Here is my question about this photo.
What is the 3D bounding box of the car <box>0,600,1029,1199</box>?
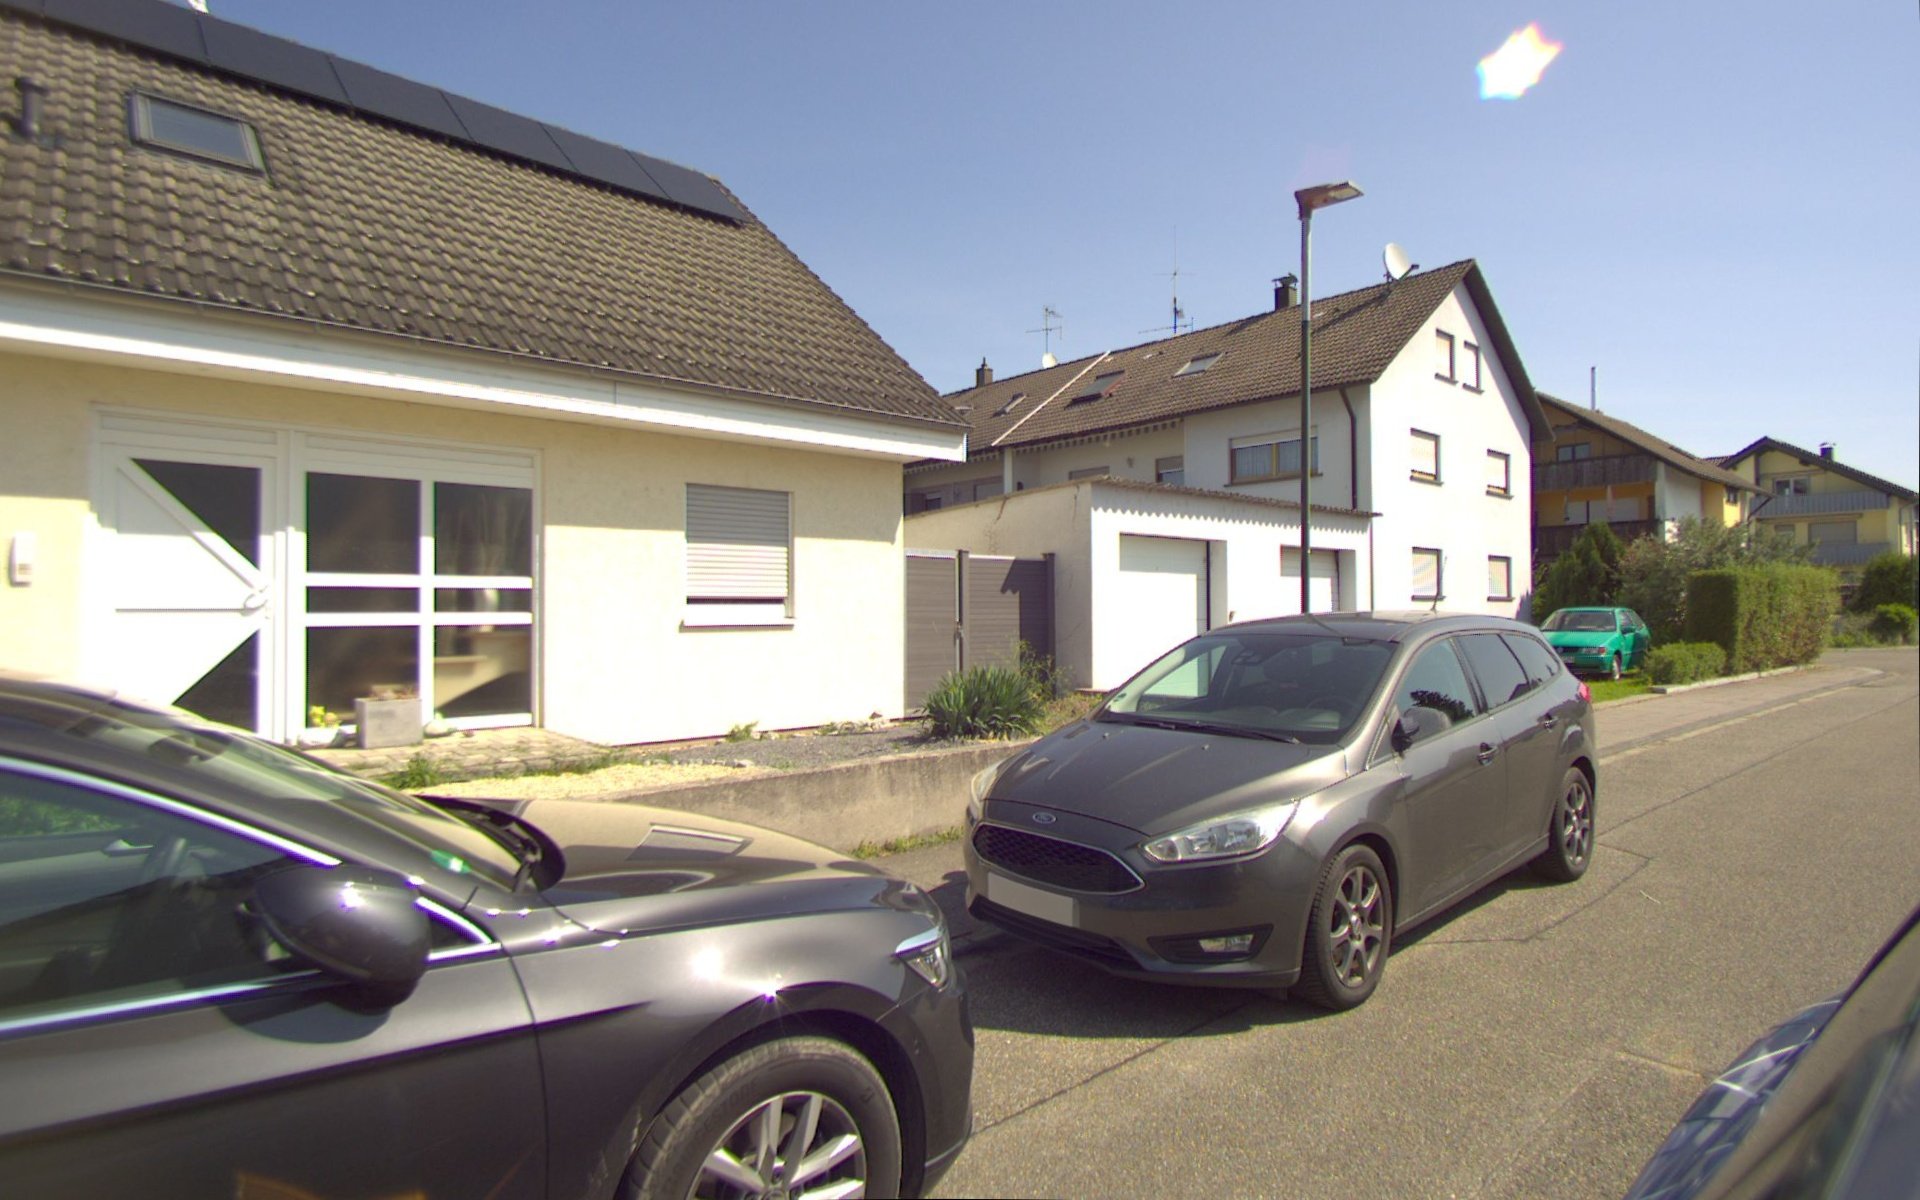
[{"bbox_3d":[-2.075,0.744,1.582,4.423,1.457,1.720,0,0,-40],"label":"car"}]

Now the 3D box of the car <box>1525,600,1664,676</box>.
[{"bbox_3d":[12.584,0.687,20.008,3.467,1.376,1.495,0,0,-43],"label":"car"}]

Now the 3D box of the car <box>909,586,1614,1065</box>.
[{"bbox_3d":[1.775,0.751,5.145,3.932,1.498,1.643,1,-3,-43],"label":"car"}]
